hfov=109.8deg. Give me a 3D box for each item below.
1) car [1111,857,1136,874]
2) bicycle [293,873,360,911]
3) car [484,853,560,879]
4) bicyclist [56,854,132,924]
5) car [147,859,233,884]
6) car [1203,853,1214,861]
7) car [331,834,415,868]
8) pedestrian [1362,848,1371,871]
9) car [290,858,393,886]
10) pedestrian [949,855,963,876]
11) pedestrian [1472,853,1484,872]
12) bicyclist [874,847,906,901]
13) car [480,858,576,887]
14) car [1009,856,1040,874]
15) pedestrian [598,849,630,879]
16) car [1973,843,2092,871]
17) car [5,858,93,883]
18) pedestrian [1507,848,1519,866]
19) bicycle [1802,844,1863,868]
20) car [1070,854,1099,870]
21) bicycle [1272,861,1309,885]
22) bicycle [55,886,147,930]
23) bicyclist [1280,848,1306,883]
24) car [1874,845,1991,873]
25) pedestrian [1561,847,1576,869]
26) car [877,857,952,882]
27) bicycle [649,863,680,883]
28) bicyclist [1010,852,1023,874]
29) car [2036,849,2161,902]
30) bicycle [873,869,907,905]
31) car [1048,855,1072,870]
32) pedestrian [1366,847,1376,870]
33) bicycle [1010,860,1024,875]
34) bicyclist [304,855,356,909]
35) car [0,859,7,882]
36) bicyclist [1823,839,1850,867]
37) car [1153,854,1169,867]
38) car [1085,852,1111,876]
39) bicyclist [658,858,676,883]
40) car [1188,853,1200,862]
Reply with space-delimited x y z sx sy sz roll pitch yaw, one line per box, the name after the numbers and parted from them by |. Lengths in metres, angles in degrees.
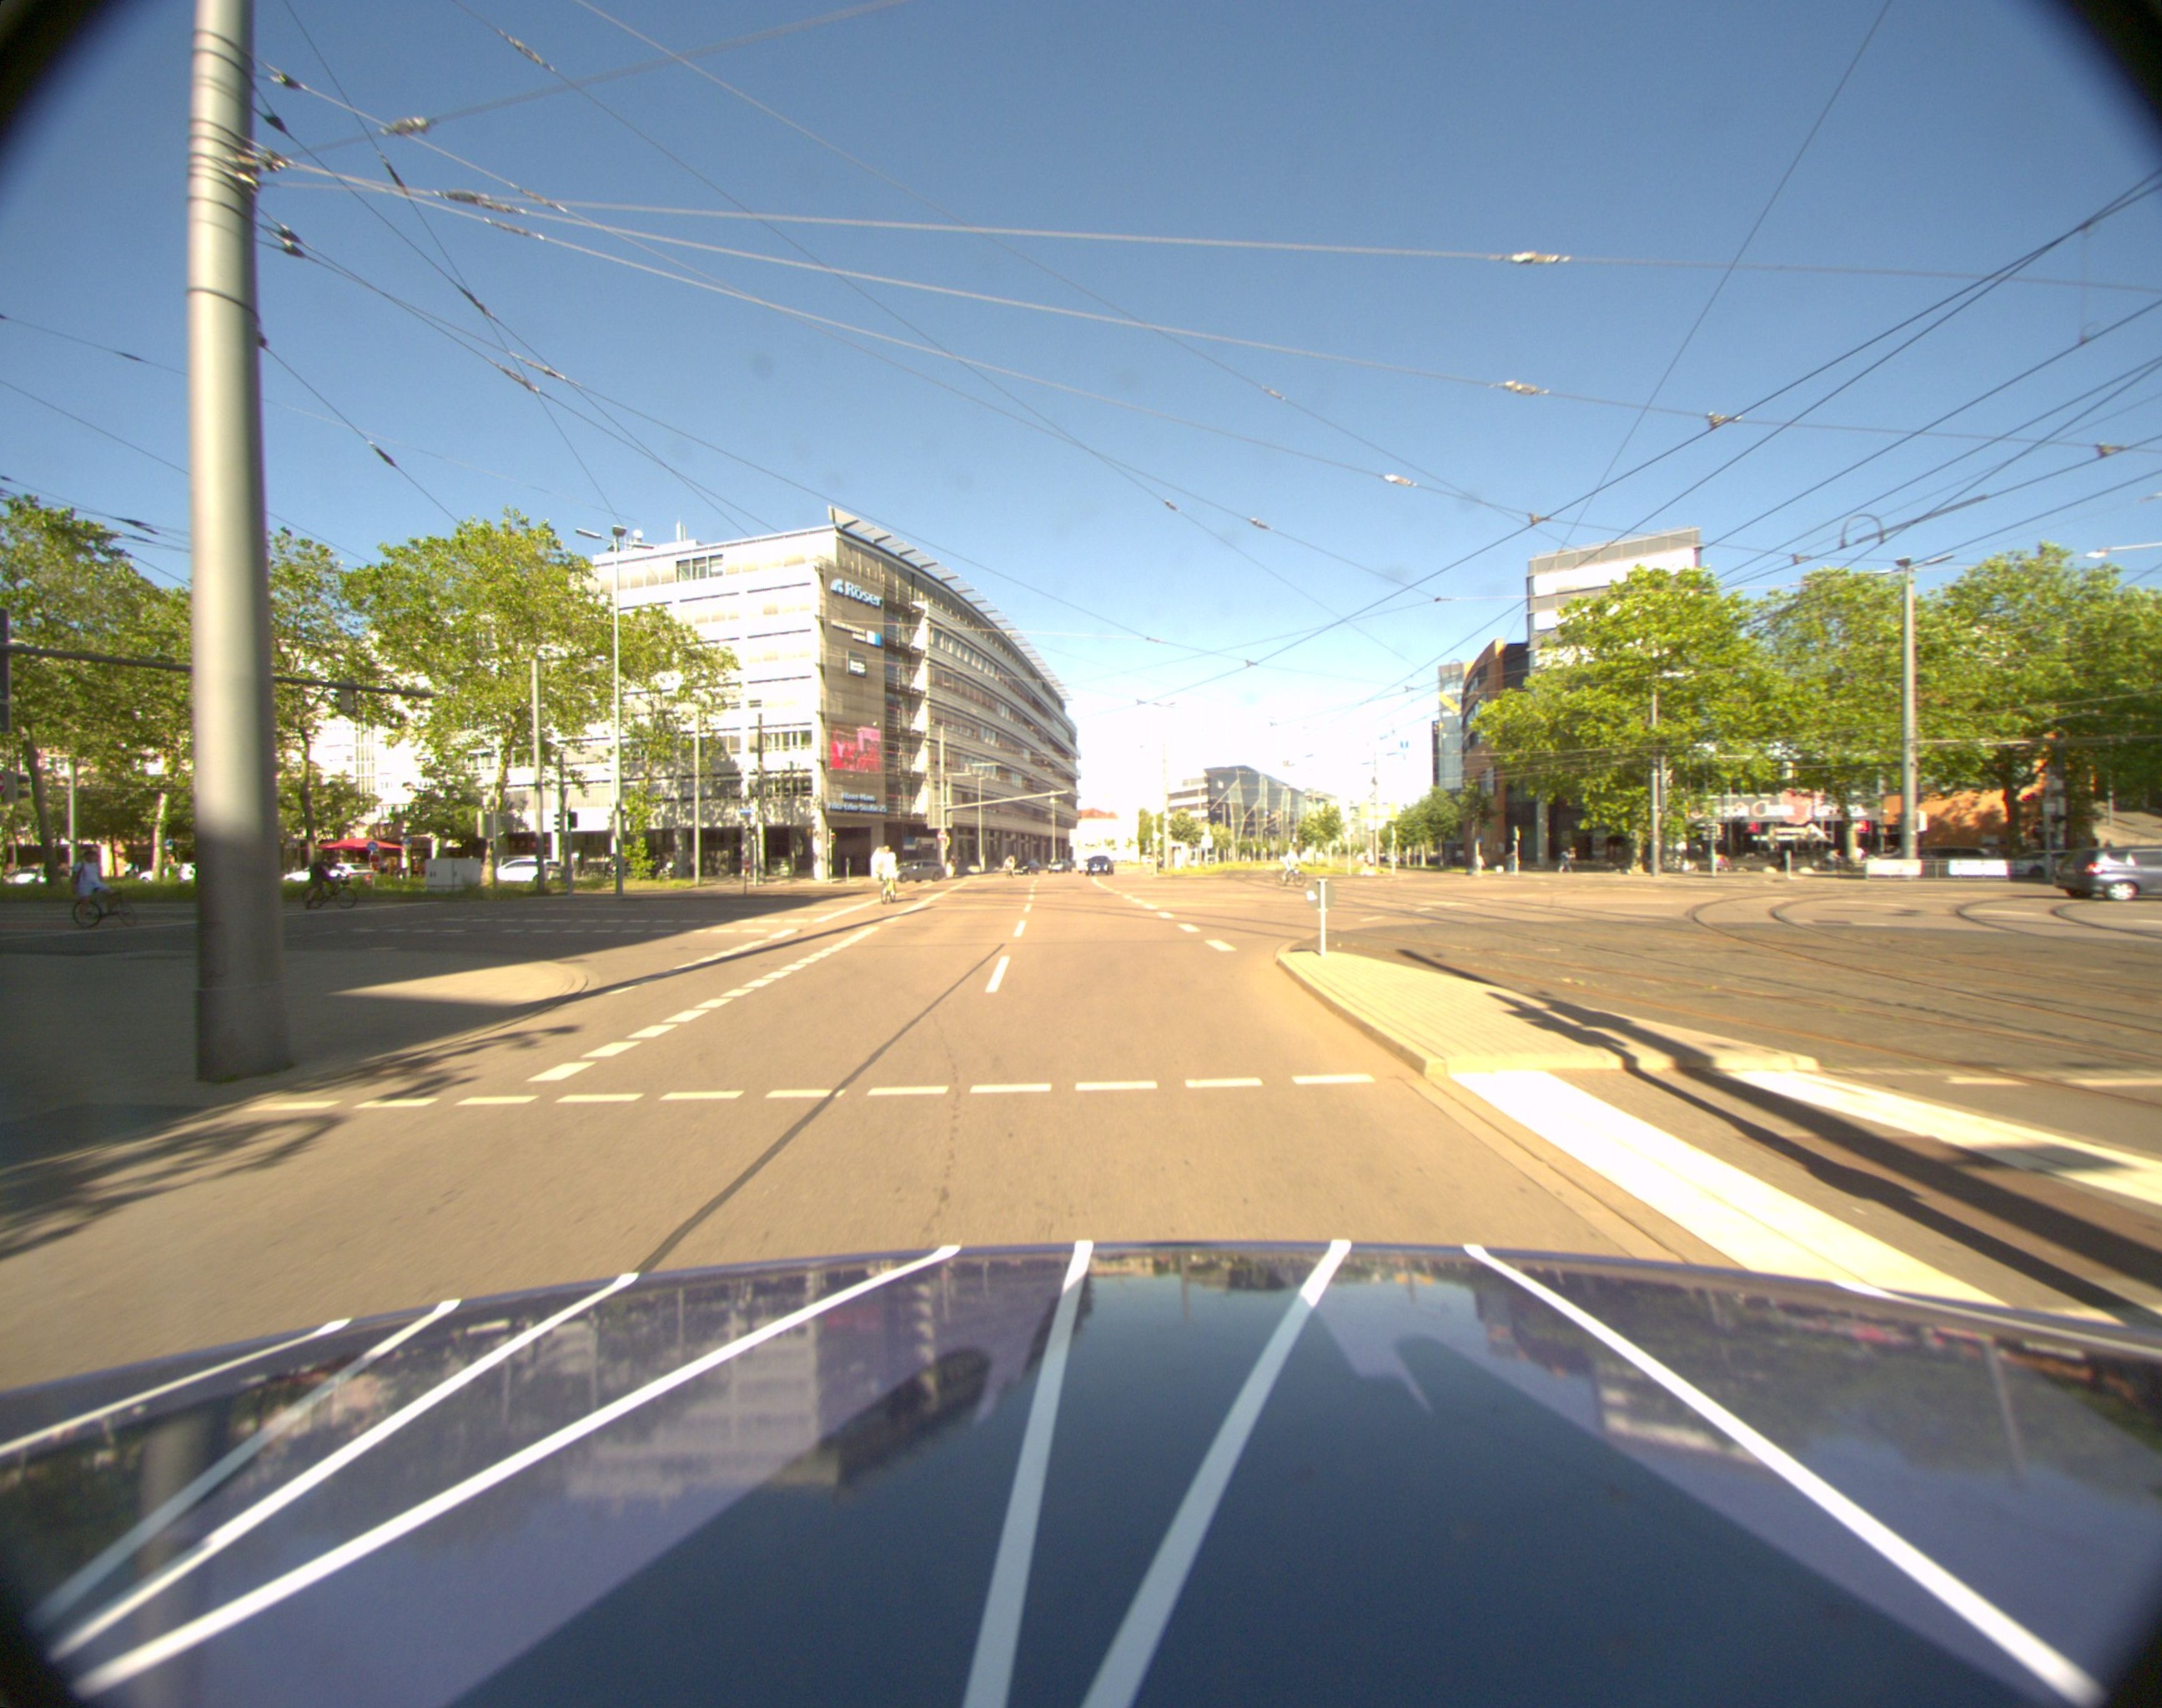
4.108 1.070 73.334 1.882 1.455 4.002 -2 1 10 | car
-23.949 1.193 24.126 1.542 1.140 0.481 -1 0 -4 | bicycle
-36.926 0.801 50.251 3.924 1.668 1.819 -1 0 10 | car
-24.266 0.844 18.687 0.896 1.659 0.685 -1 1 -5 | bicyclist
-61.400 1.198 52.382 4.244 1.636 1.937 -1 0 10 | car
24.763 0.532 147.672 1.953 1.455 4.002 -2 1 10 | car
-48.030 -0.204 51.582 4.244 2.222 1.937 -1 0 10 | car
20.462 0.404 54.435 0.580 1.625 0.548 0 1 14 | pedestrian
-44.587 1.058 45.892 4.248 1.636 1.935 -1 0 -1 | car
-9.844 0.888 59.851 0.858 1.677 0.802 0 1 15 | pedestrian
28.579 0.608 54.718 0.662 1.389 0.673 0 1 14 | pedestrian
-6.280 0.633 25.042 0.684 1.718 0.909 -3 0 5 | bicyclist
-32.896 1.057 45.305 4.248 1.636 1.935 -1 0 -1 | car
-5.147 0.990 69.440 1.882 1.455 4.002 -2 1 9 | car
-32.091 0.689 52.214 1.182 2.002 1.467 0 1 10 | pedestrian
53.028 0.168 42.409 3.995 1.499 1.910 -1 0 5 | car
-72.131 1.138 53.115 4.244 1.636 1.937 -1 0 10 | car
32.863 0.241 57.762 0.662 1.389 0.673 0 1 14 | pedestrian
49.490 0.151 50.052 2.844 1.528 0.904 0 1 8 | bicycle
0.396 0.751 73.612 2.120 1.547 4.003 0 0 11 | car
10.021 0.914 36.406 0.639 1.093 1.837 -1 1 -29 | bicycle
-24.169 1.328 18.749 1.506 1.021 0.481 -1 0 -4 | bicycle
10.137 0.543 36.340 0.780 1.630 0.848 -1 1 -30 | bicyclist
47.776 0.283 42.707 4.168 1.499 1.910 -1 0 5 | car
36.709 0.304 57.222 0.780 1.614 0.673 0 1 14 | pedestrian
-10.949 0.992 50.358 1.930 1.548 4.861 0 0 34 | car
-24.468 1.084 44.670 1.544 1.140 0.480 -1 1 -17 | bicycle
-4.959 0.697 58.217 0.755 1.607 0.762 -3 0 10 | bicyclist
29.505 0.566 20.854 3.668 1.402 1.814 0 0 28 | car
-6.278 1.058 25.052 0.578 1.090 1.507 -3 0 4 | bicycle
-2.232 0.952 82.730 1.882 1.455 4.002 -2 1 9 | car
21.385 0.329 56.048 0.580 1.669 0.548 0 1 14 | pedestrian
-4.920 1.034 58.451 0.577 1.090 1.508 -3 0 10 | bicycle
-23.887 0.875 24.173 0.936 1.659 0.685 -1 1 -5 | bicyclist
-78.603 1.178 53.375 4.244 1.636 1.937 -1 0 10 | car
49.709 -0.065 50.011 0.926 1.798 0.861 0 1 8 | bicyclist
10.731 0.854 101.669 1.882 1.455 4.002 -2 1 10 | car
1.325 0.738 57.859 1.802 1.596 4.000 -2 1 3 | car
-24.335 0.957 44.681 0.762 1.400 0.755 -1 1 -15 | bicyclist
18.971 0.555 127.407 1.953 1.455 4.002 -2 1 10 | car
